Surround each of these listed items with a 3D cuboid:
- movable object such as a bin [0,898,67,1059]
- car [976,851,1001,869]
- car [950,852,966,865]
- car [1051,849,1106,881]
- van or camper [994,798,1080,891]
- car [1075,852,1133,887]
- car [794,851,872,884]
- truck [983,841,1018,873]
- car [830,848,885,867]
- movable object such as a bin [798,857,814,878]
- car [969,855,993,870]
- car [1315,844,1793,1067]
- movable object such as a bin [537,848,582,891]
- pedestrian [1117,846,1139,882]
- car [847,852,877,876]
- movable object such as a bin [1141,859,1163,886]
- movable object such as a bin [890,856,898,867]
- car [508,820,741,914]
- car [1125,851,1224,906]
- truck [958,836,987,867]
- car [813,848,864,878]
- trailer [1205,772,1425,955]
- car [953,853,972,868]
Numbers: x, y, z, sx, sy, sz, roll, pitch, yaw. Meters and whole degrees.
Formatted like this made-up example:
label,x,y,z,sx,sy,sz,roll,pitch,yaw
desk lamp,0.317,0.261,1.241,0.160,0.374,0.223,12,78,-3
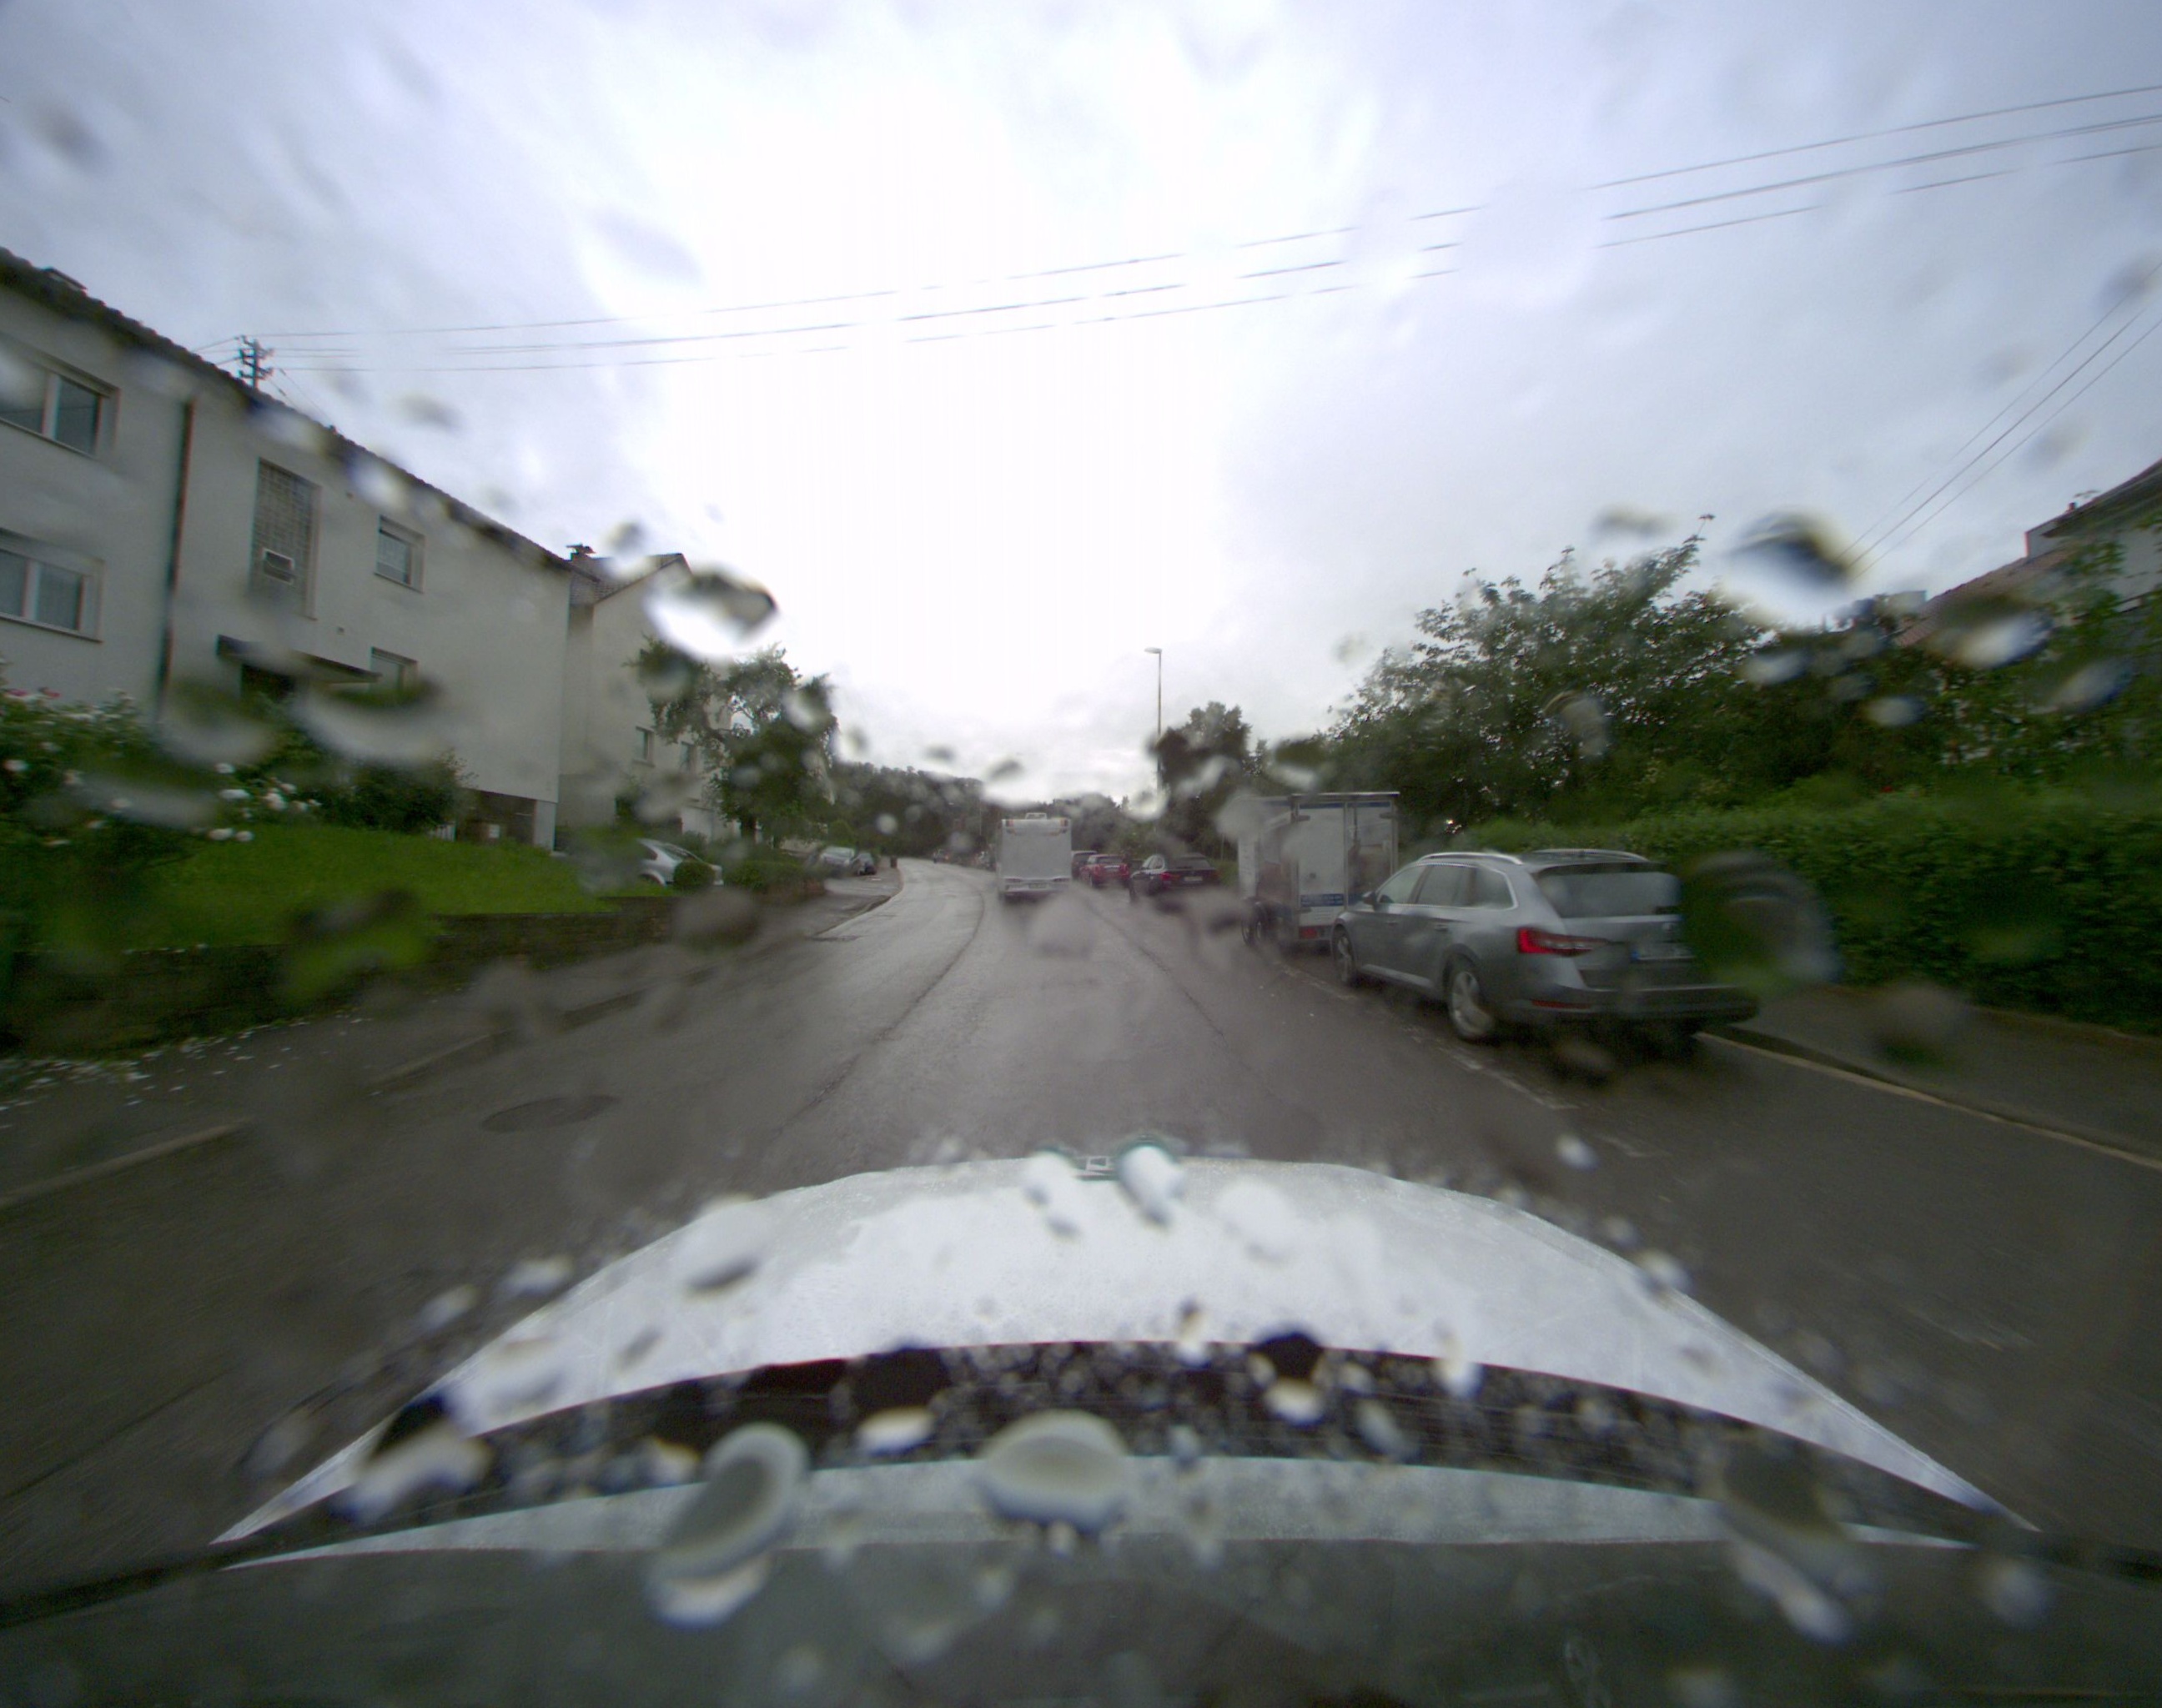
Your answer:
label,x,y,z,sx,sy,sz,roll,pitch,yaw
movable object such as a bin,-7.790,0.878,5.619,0.536,1.075,0.743,6,0,-1
car,-8.717,0.584,76.202,1.762,1.604,4.644,-1,0,-14
car,-16.234,0.574,107.233,1.937,1.672,4.675,-1,0,-12
car,-0.184,0.538,40.702,1.817,1.506,4.704,-1,0,-12
van or camper,-1.690,-0.192,28.504,2.613,2.853,6.016,1,-2,-7
car,0.952,0.650,35.738,1.736,1.414,3.837,-1,0,-11
car,-14.421,0.786,47.532,3.813,1.477,1.804,-6,-1,1
truck,-6.987,0.254,69.909,2.241,2.631,6.510,-1,0,-12
car,-23.417,0.365,85.492,5.064,1.944,2.143,-1,0,2
movable object such as a bin,-15.005,0.732,44.435,0.649,1.078,0.558,-1,0,7
car,-10.367,0.887,84.398,1.835,1.438,4.962,-1,0,-14
car,3.775,0.672,7.678,1.742,1.424,4.702,-1,0,-1
movable object such as a bin,-14.448,0.422,22.577,0.791,1.170,0.685,0,0,12
pedestrian,2.163,0.437,37.611,0.710,1.635,0.711,0,0,-34
car,-15.161,0.668,56.561,1.805,1.597,4.397,-1,0,-13
movable object such as a bin,2.880,0.739,33.264,0.713,1.093,0.846,0,0,-9
movable object such as a bin,-16.537,0.636,71.942,0.604,0.928,0.560,1,-1,-18
car,-10.354,0.290,18.639,4.231,1.431,1.769,8,0,6
car,2.649,0.664,24.271,1.792,1.459,4.776,-1,0,-8
truck,-12.208,-0.256,91.537,2.439,3.335,7.928,-1,0,-13
car,-12.643,0.458,42.727,1.764,1.376,4.238,3,-1,-6
trailer,3.598,0.140,13.777,1.944,2.456,5.429,-1,0,-2
car,-14.571,0.811,99.955,1.848,1.683,5.612,-1,0,-13
